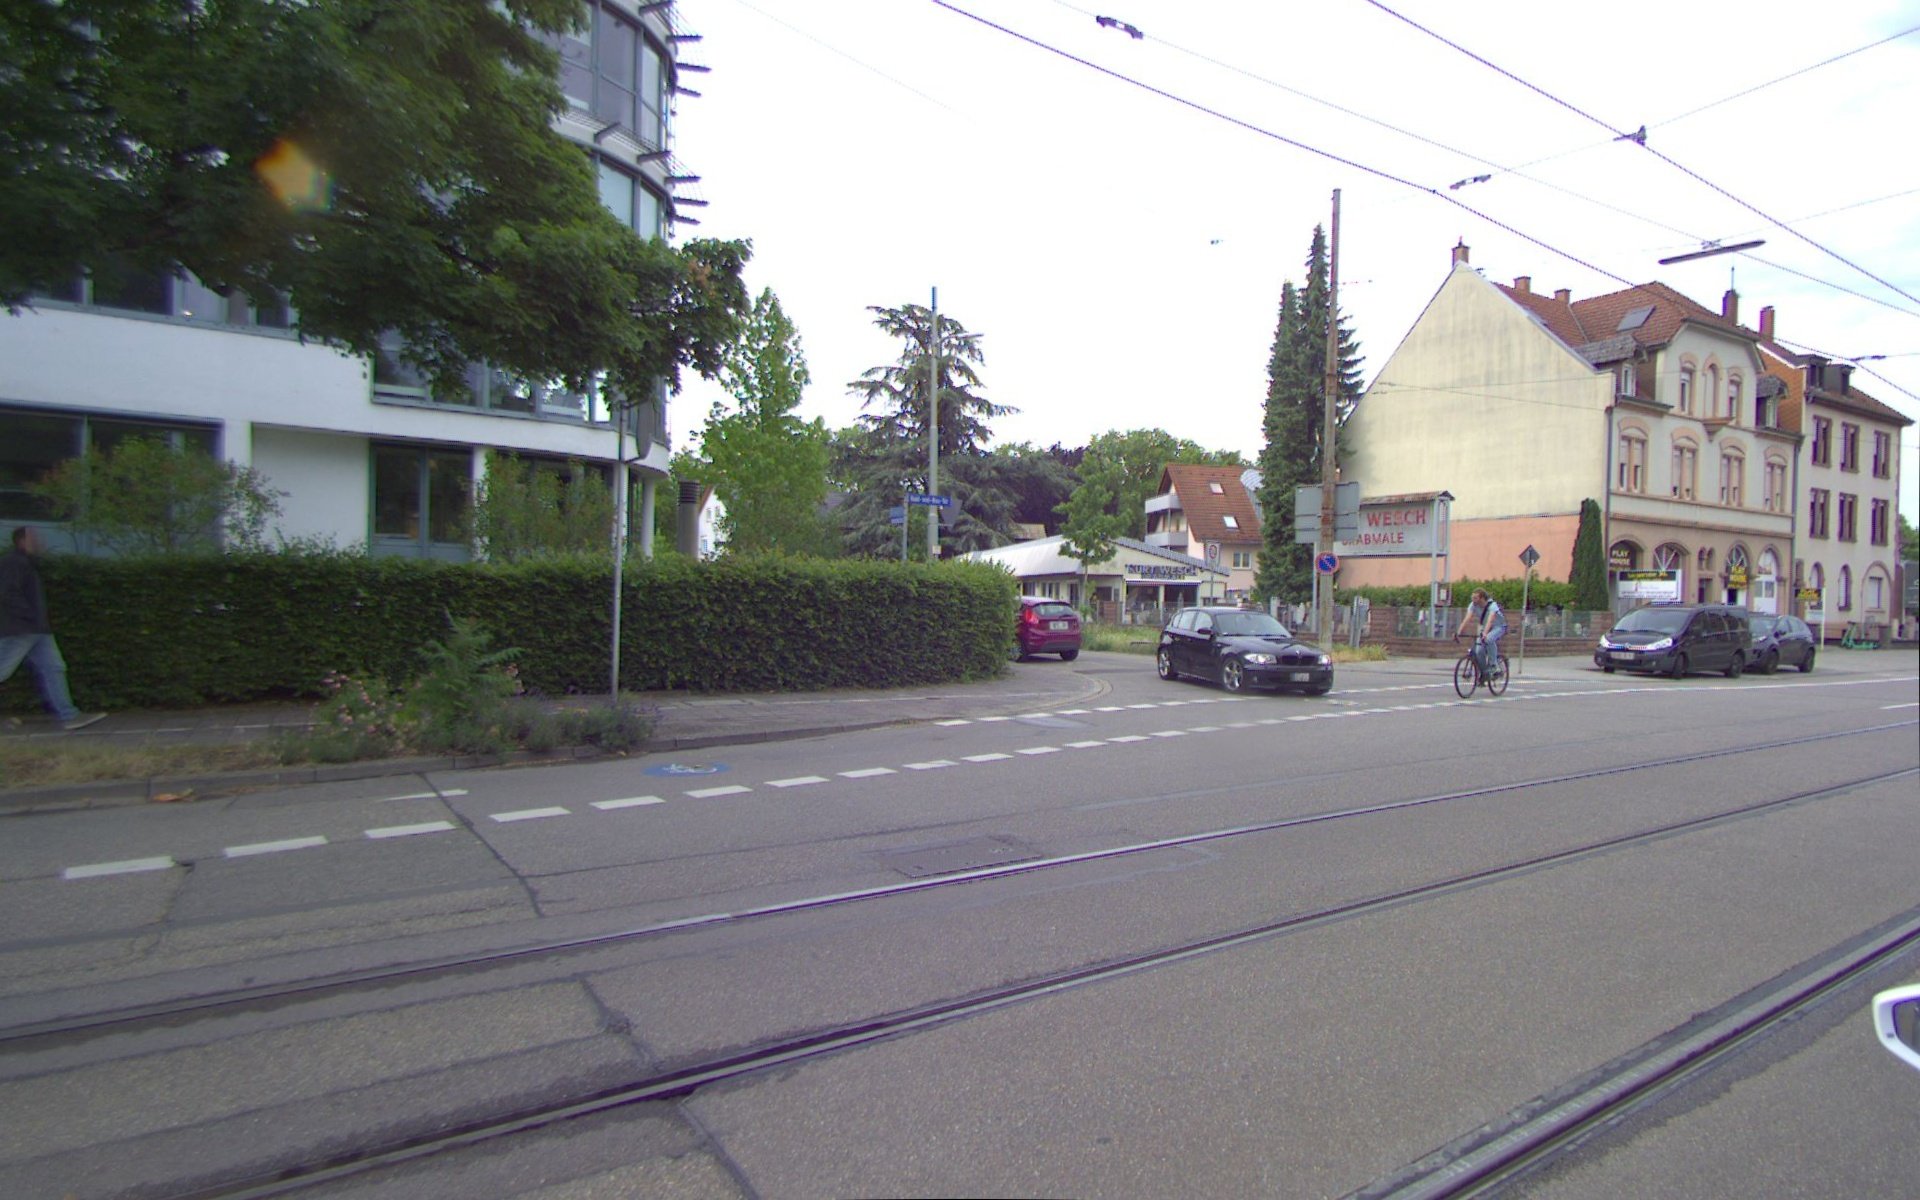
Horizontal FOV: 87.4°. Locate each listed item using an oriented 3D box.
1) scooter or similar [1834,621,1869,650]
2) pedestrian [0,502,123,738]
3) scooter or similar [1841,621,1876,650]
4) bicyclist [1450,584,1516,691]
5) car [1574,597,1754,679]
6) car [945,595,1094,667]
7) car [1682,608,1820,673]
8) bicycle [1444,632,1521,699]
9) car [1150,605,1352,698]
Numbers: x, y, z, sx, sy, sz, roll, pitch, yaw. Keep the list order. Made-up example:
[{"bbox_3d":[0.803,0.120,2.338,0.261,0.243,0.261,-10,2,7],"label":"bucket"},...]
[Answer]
[{"bbox_3d":[39.053,1.538,44.013,1.032,1.204,0.318,3,1,26],"label":"scooter or similar"},{"bbox_3d":[-8.310,0.172,9.068,0.978,2.040,0.707,2,1,-26],"label":"pedestrian"},{"bbox_3d":[38.859,1.536,43.443,1.032,1.204,0.318,3,1,26],"label":"scooter or similar"},{"bbox_3d":[8.993,0.626,17.257,0.972,1.772,0.728,1,-1,-43],"label":"bicyclist"},{"bbox_3d":[18.649,0.998,26.575,4.940,1.912,1.982,2,1,-31],"label":"car"},{"bbox_3d":[1.332,0.656,23.892,1.749,1.437,3.688,-1,3,-32],"label":"car"},{"bbox_3d":[23.497,1.201,29.811,4.146,1.741,1.834,2,1,-32],"label":"car"},{"bbox_3d":[8.998,1.097,17.261,1.943,1.088,0.581,2,-1,-44],"label":"bicycle"},{"bbox_3d":[4.946,0.825,17.677,1.770,1.406,3.923,1,0,-12],"label":"car"}]
